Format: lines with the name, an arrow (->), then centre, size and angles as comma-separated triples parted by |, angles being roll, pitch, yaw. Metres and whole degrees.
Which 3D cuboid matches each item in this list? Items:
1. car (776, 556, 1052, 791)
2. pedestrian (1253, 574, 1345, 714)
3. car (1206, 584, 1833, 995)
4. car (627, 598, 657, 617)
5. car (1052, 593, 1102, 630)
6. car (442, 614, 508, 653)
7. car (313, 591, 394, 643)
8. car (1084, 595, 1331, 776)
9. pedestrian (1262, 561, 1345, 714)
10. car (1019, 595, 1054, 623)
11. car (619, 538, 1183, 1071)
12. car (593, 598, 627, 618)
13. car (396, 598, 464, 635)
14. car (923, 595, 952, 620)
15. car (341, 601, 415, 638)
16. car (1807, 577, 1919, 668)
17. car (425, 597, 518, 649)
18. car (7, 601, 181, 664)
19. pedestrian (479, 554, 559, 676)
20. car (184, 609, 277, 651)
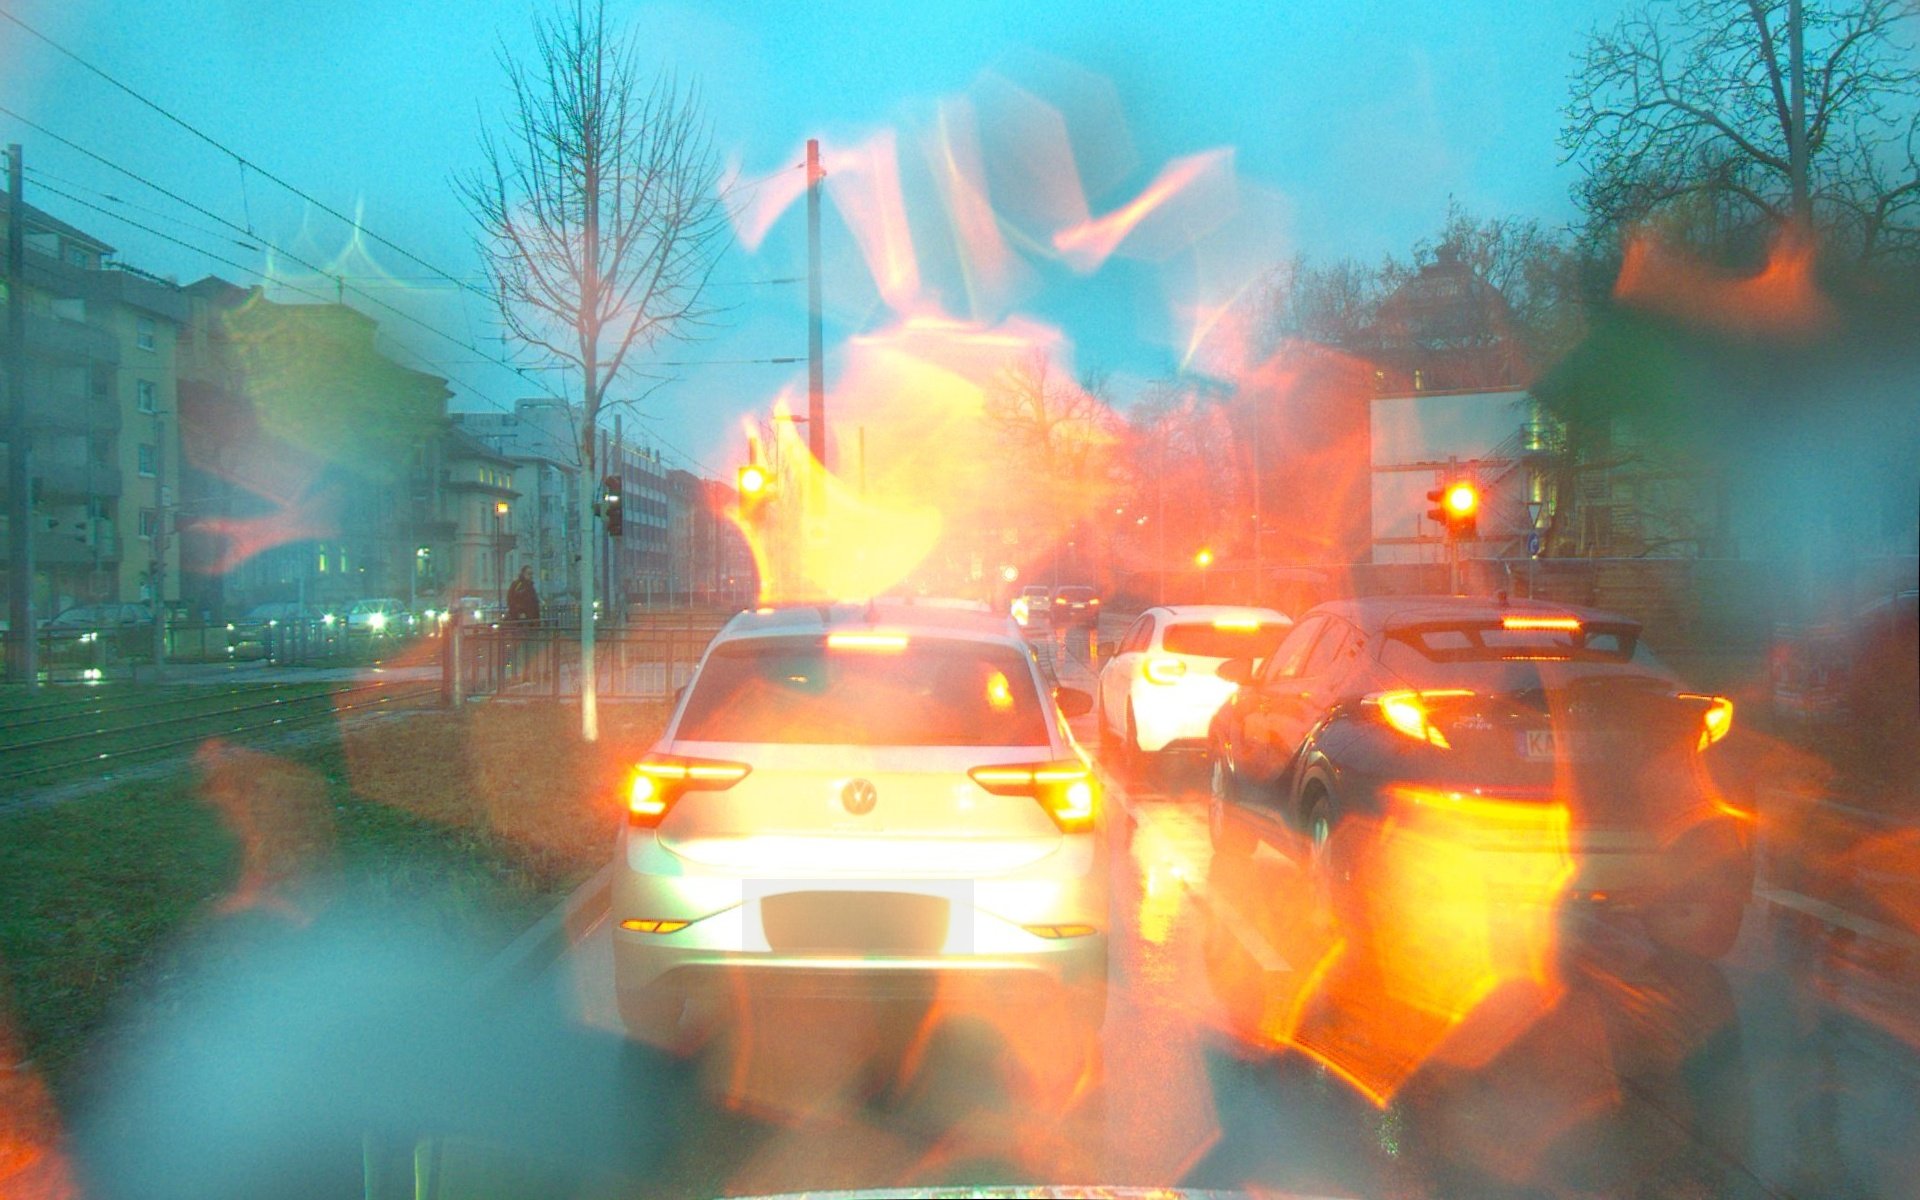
car -> -0.318, 0.455, 13.007 | 1.762, 1.492, 4.585 | -1, 1, -1
pedestrian -> 5.122, 0.649, 25.016 | 0.946, 2.049, 1.000 | -1, 0, -23
car -> 2.418, 0.710, 8.226 | 1.763, 1.537, 3.895 | -1, 0, -1
car -> -28.650, 0.674, 149.266 | 1.910, 1.630, 4.000 | 1, 0, 0
car -> 4.728, 0.449, 67.266 | 1.702, 1.444, 3.703 | -1, 1, -1
car -> -21.572, 1.479, 73.708 | 1.829, 1.604, 3.999 | -1, 0, -1
car -> -25.314, 0.693, 69.173 | 1.953, 2.049, 3.999 | 1, 0, -1
car -> 2.181, 0.704, 15.496 | 1.710, 1.458, 3.731 | 1, 0, 0
pedestrian -> 4.723, 0.496, 22.779 | 0.939, 2.049, 1.008 | -1, 0, 2
car -> 4.130, 0.457, 89.825 | 1.702, 1.444, 3.703 | -1, 1, -1
car -> -0.291, 0.587, 6.897 | 1.659, 1.560, 3.997 | 1, 0, -4
car -> -28.756, 0.638, 135.893 | 1.910, 1.630, 4.000 | 1, 0, 0
car -> -24.872, 0.766, 77.777 | 1.910, 1.630, 4.000 | 1, 0, 0
car -> -1.329, 0.418, 100.112 | 1.702, 1.444, 4.393 | -1, 1, -1
car -> -21.172, 0.686, 60.325 | 1.658, 1.300, 4.142 | -1, 0, -7
car -> 21.677, 0.532, 37.387 | 4.181, 1.977, 2.001 | 1, 0, 16
car -> -16.177, 0.728, 54.954 | 1.953, 1.630, 3.999 | 1, 0, -2
car -> -20.183, 0.713, 38.757 | 1.821, 1.355, 4.314 | 1, 0, -1
pedestrian -> -7.588, 0.238, 28.442 | 0.999, 2.049, 0.947 | -1, 0, -41
car -> -24.182, 0.964, 54.939 | 1.657, 1.300, 3.534 | -1, 0, -3
